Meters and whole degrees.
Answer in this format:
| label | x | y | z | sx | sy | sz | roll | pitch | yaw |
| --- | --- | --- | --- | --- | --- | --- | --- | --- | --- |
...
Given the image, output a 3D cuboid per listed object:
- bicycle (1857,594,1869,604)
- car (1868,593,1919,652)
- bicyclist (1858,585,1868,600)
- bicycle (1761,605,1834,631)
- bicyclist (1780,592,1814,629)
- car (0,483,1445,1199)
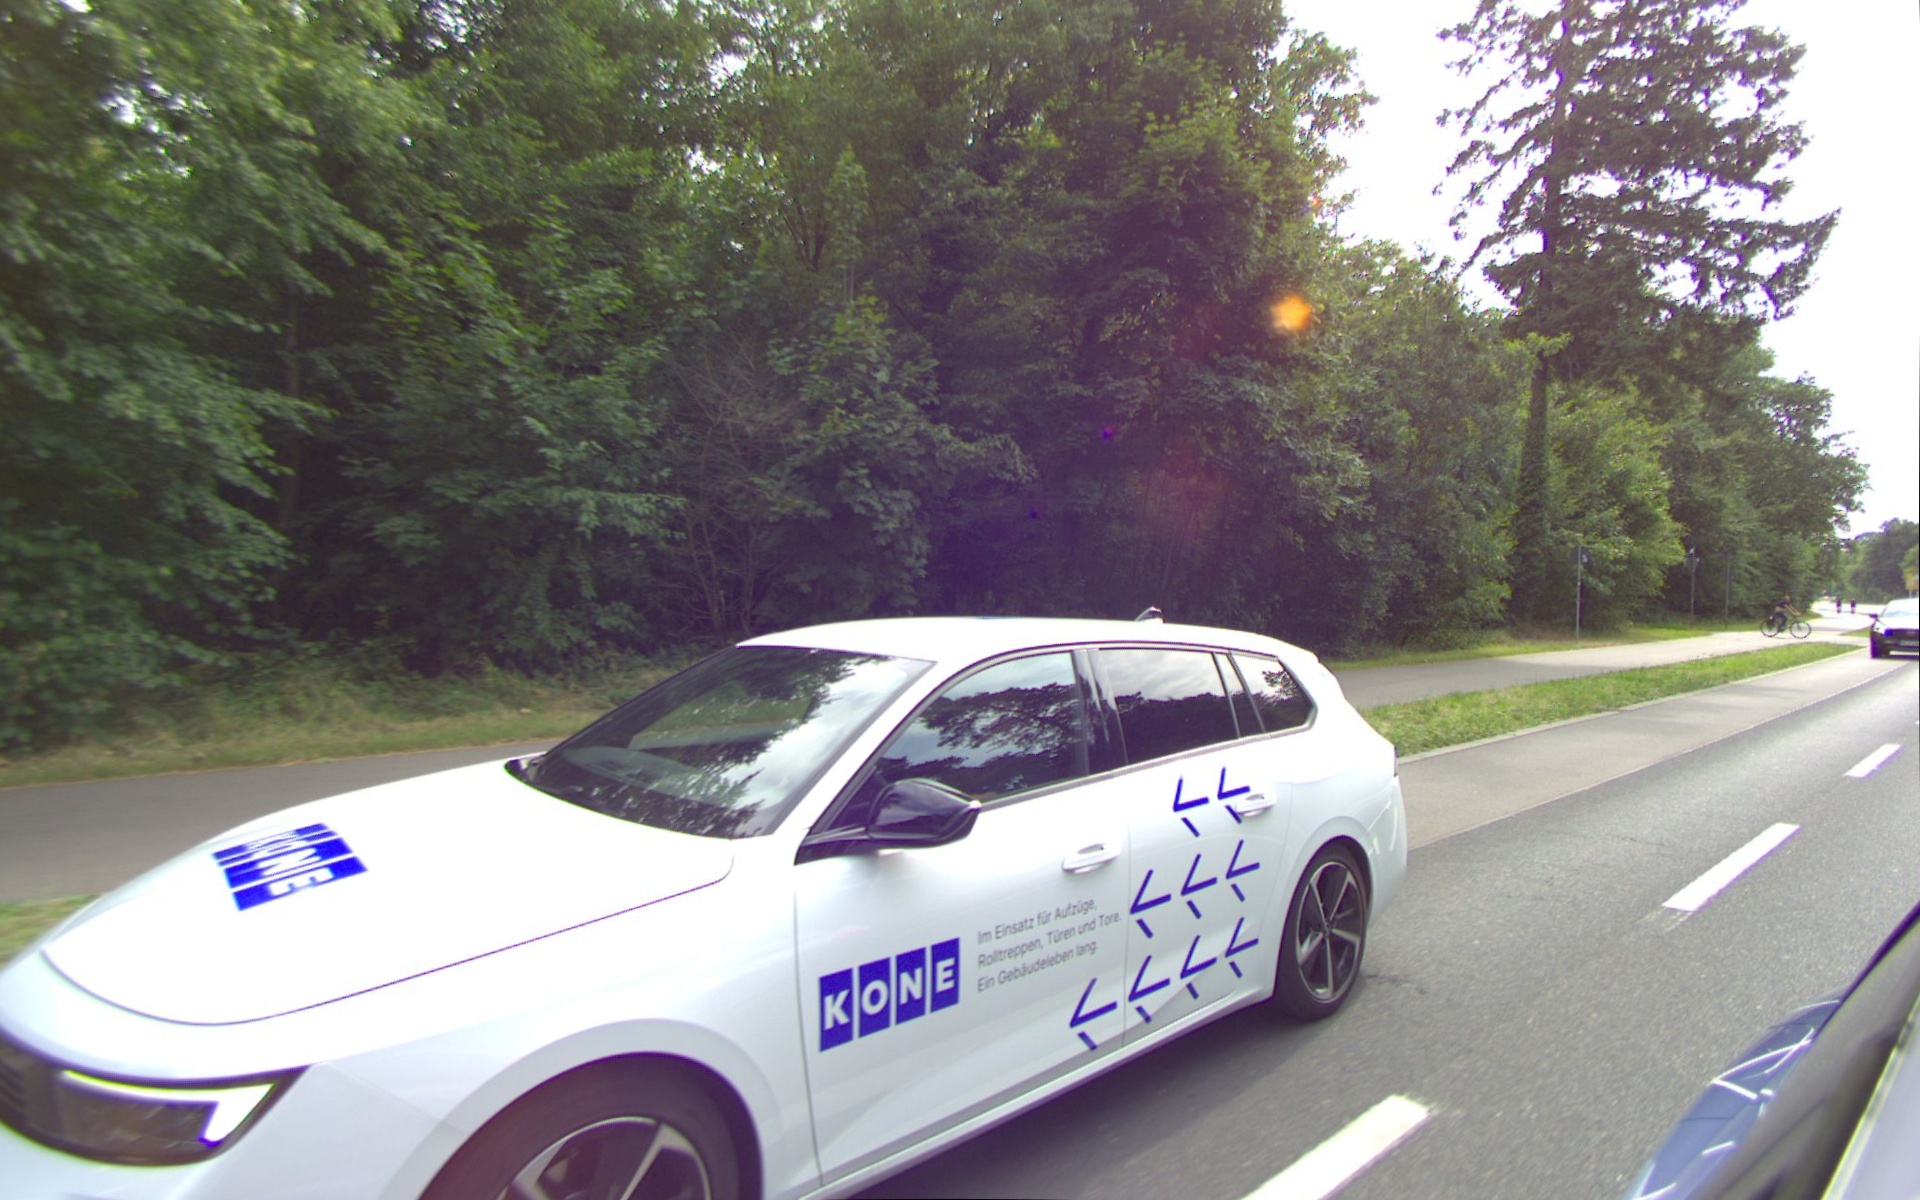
| label | x | y | z | sx | sy | sz | roll | pitch | yaw |
| --- | --- | --- | --- | --- | --- | --- | --- | --- | --- |
| bicycle | 87.778 | -0.091 | 98.379 | 0.564 | 0.923 | 1.733 | 4 | 3 | 34 |
| car | 27.874 | 0.601 | 29.315 | 3.933 | 1.594 | 1.995 | -1 | 0 | -43 |
| bicyclist | 87.799 | -0.715 | 98.408 | 0.518 | 1.433 | 1.172 | 1 | 1 | 34 |
| bicycle | 34.295 | 0.727 | 41.477 | 0.697 | 1.006 | 2.183 | 0 | 1 | -31 |
| bicyclist | 34.312 | 0.406 | 41.481 | 0.697 | 1.489 | 0.902 | 0 | 0 | -31 |
| car | -0.207 | 0.627 | 3.386 | 4.414 | 1.428 | 1.838 | 2 | -2 | -43 |
